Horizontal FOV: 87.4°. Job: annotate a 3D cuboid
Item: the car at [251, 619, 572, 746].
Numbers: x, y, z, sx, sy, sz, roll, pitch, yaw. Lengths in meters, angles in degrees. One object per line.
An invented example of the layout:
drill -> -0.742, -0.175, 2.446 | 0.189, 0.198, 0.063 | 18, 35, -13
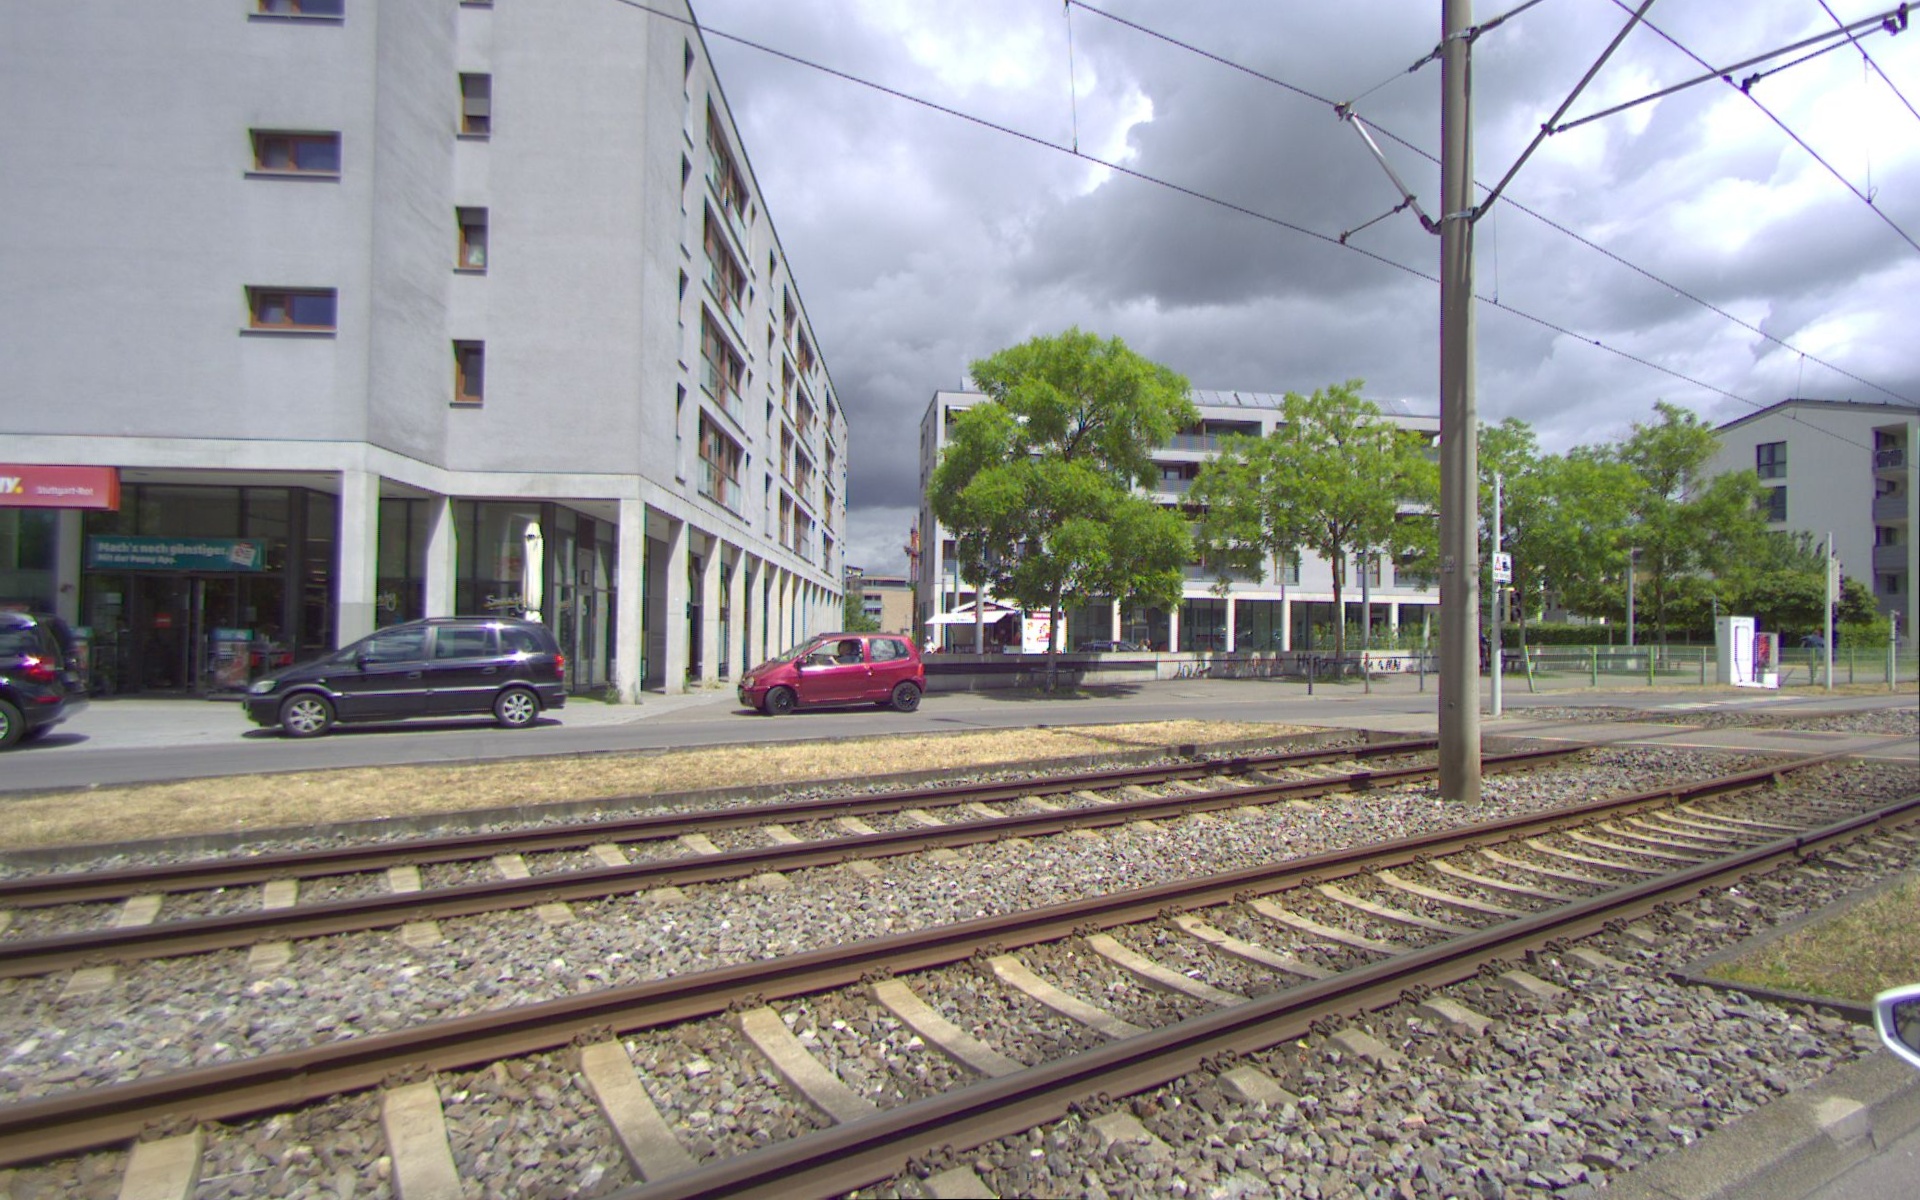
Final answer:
car -> -8.175, 1.165, 15.320 | 4.047, 1.669, 1.987 | 0, -2, -27

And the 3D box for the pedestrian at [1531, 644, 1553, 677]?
pedestrian -> 22.521, 2.336, 38.882 | 0.449, 1.263, 0.545 | -1, -2, -9

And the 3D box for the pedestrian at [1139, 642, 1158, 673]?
pedestrian -> 6.831, 2.081, 36.344 | 0.566, 1.110, 0.500 | 0, -1, -5

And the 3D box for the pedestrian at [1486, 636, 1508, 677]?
pedestrian -> 21.228, 2.231, 39.724 | 0.519, 1.567, 0.545 | -1, -2, -9

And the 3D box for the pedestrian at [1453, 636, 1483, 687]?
pedestrian -> 16.426, 1.985, 32.477 | 0.549, 1.594, 0.622 | -1, -2, -18

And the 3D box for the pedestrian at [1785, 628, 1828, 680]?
pedestrian -> 28.008, 1.779, 33.225 | 0.858, 1.683, 0.747 | 0, -2, -26

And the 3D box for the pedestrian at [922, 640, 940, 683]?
pedestrian -> -1.330, 2.827, 46.619 | 0.768, 1.967, 0.830 | -1, -2, 1

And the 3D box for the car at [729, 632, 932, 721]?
car -> -2.387, 1.347, 18.426 | 3.374, 1.445, 1.610 | 0, -2, -24

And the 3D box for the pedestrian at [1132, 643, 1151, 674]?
pedestrian -> 6.399, 2.056, 35.381 | 0.566, 1.110, 0.500 | 0, -1, -5

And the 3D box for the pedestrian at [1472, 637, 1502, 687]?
pedestrian -> 17.254, 2.023, 32.878 | 0.550, 1.594, 0.621 | 0, -2, -24

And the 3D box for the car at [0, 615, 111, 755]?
car -> -13.218, 1.039, 12.287 | 4.054, 1.685, 1.983 | 0, -1, -32
